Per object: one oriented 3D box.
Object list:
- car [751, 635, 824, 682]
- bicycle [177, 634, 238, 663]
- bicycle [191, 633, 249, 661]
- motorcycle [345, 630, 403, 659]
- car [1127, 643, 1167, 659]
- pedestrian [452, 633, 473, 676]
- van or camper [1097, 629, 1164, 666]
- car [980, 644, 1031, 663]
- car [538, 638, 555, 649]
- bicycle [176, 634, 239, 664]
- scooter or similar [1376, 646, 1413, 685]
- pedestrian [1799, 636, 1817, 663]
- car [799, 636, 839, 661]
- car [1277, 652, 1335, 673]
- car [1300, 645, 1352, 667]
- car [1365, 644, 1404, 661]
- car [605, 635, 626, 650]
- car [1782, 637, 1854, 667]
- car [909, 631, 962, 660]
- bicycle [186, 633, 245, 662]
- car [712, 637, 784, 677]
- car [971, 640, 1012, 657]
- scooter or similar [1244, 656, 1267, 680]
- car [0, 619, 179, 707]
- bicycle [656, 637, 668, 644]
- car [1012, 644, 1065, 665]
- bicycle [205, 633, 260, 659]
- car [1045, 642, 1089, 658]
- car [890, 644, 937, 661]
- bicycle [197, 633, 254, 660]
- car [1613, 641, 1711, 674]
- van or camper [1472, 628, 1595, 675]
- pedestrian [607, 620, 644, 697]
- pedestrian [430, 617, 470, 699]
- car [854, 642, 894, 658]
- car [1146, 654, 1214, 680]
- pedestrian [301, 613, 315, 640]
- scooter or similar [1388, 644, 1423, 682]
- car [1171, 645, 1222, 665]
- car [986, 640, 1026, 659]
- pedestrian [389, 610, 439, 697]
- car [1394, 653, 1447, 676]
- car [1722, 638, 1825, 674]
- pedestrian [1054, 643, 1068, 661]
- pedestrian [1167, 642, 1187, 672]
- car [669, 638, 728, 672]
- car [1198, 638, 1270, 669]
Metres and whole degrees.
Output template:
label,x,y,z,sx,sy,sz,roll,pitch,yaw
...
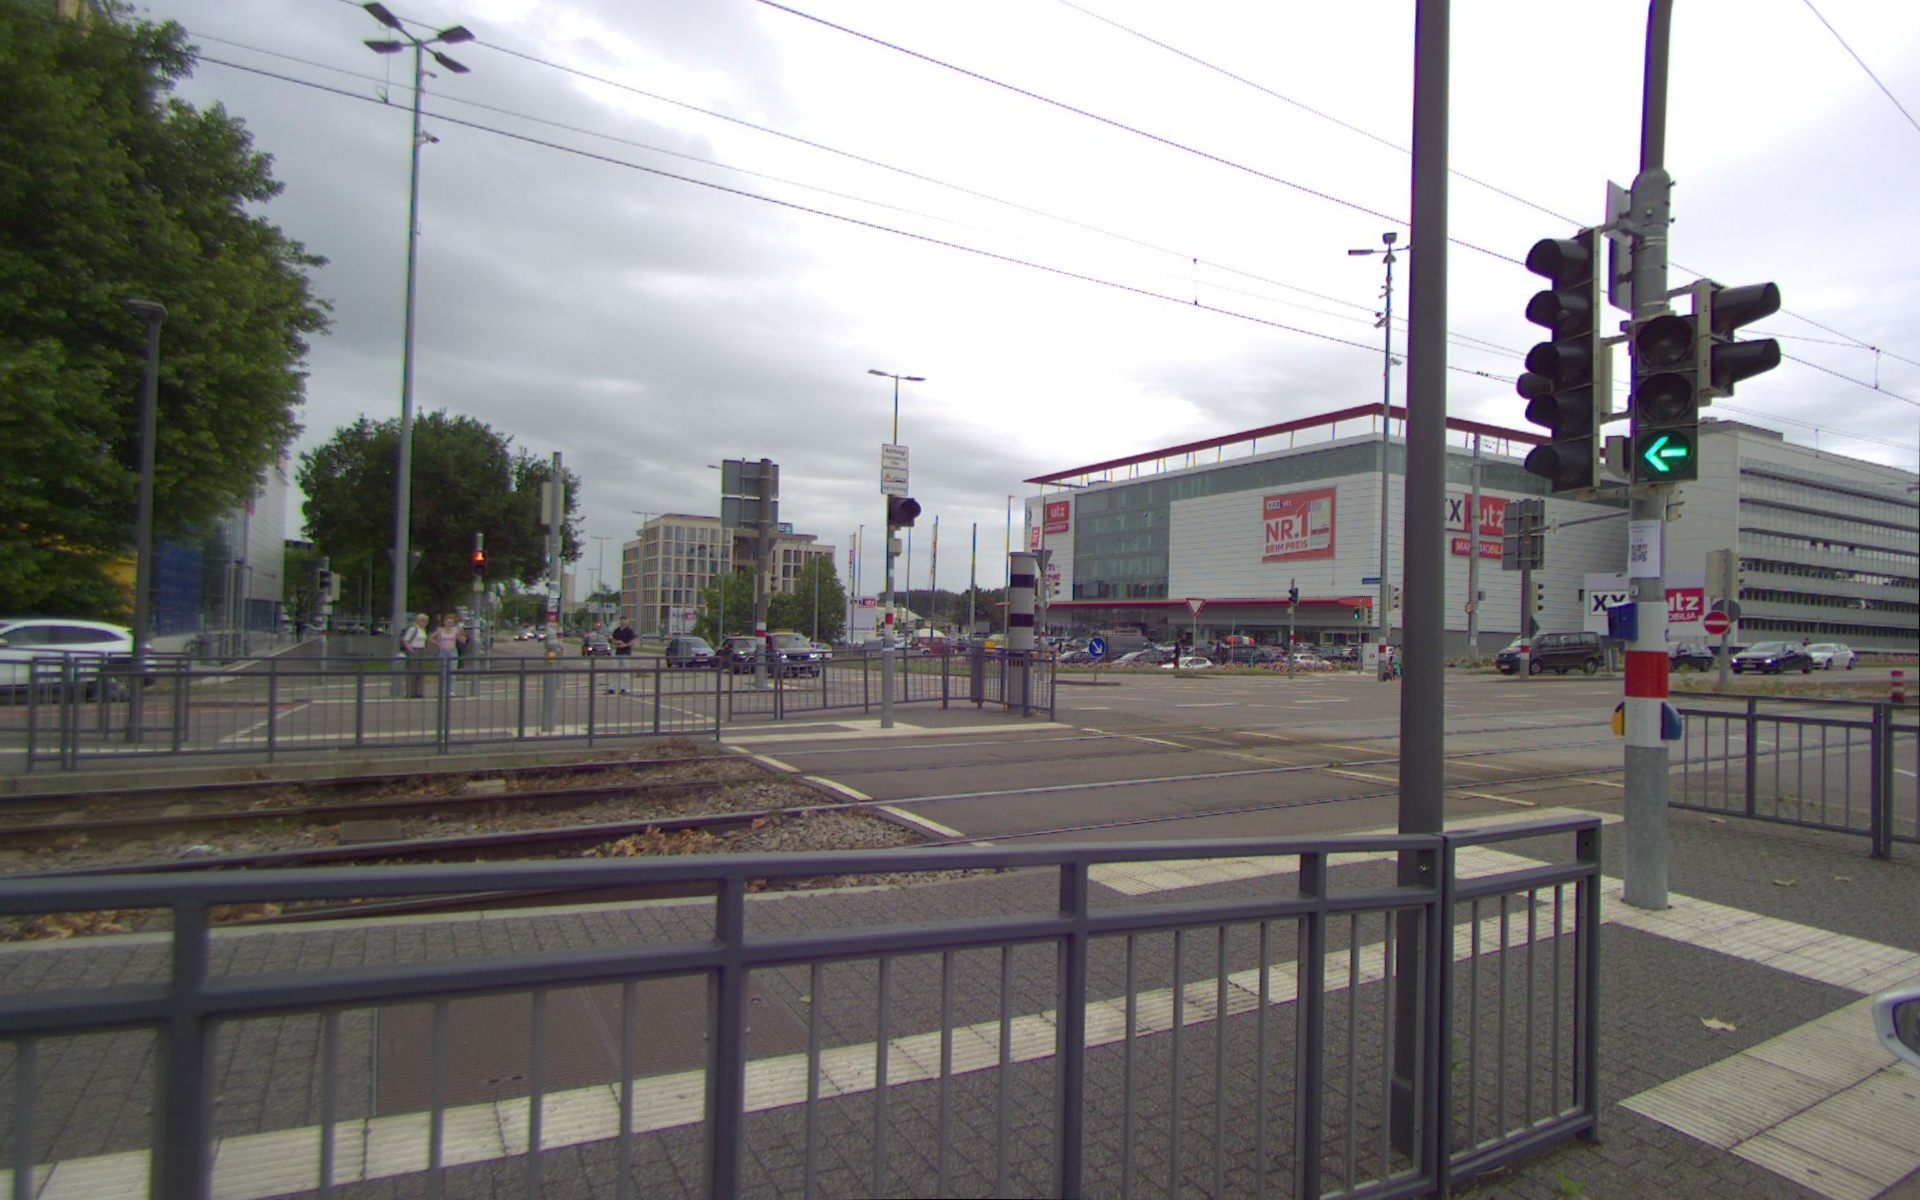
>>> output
label,x,y,z,sx,sy,sz,roll,pitch,yaw
car,-6.094,2.009,35.257,1.588,1.522,3.185,1,-2,-30
bicycle,-32.795,2.114,43.828,1.999,1.172,0.589,5,-3,-30
bicycle,-33.724,2.145,45.822,1.999,1.172,0.589,5,-3,-30
motorcycle,-31.270,2.378,53.630,2.481,1.373,0.791,6,-4,-41
car,20.121,5.472,107.995,3.953,1.676,1.820,3,-3,-30
pedestrian,-19.781,2.175,39.917,0.628,1.663,0.803,3,-4,-31
van or camper,14.461,4.050,85.279,5.316,3.022,1.982,2,-3,-20
car,3.845,4.566,85.433,3.950,1.474,1.802,3,-3,-28
car,-61.914,6.467,150.411,1.912,1.539,4.153,0,-2,-27
bicycle,-31.979,2.071,42.702,0.586,1.172,2.010,0,-4,45
scooter or similar,14.311,2.148,33.094,1.001,1.272,0.463,1,-3,-15
pedestrian,57.327,3.350,67.894,0.684,1.814,0.642,2,0,24
car,-11.274,3.852,80.142,1.974,1.775,4.152,3,-1,-26
car,25.843,4.649,75.087,4.157,1.495,1.734,2,-3,-27
car,31.526,4.817,86.491,4.168,1.804,1.853,2,-2,-26
car,42.186,5.227,99.782,3.569,1.581,1.639,1,-1,-27
car,-47.987,5.932,139.928,1.977,2.040,3.966,1,-2,-31
car,47.449,2.881,55.530,3.997,1.559,1.720,2,-1,-29
car,-2.418,4.506,98.828,4.677,2.613,2.155,3,-1,-27
bicycle,-33.218,2.112,44.848,1.999,1.172,0.589,5,-3,-30
car,-8.496,2.232,40.027,1.647,1.522,4.034,2,-3,-29
car,3.339,5.222,107.355,3.949,1.617,1.866,3,-1,-27
scooter or similar,15.600,3.571,52.990,1.143,1.249,0.346,0,-4,24
car,-18.088,1.198,19.336,1.858,1.606,4.408,0,-3,25
bicycle,-52.755,7.162,177.684,1.974,1.312,0.701,1,-2,27
car,6.330,4.404,81.094,3.944,1.665,1.805,2,-3,-24
bicycle,-34.936,2.221,48.245,2.007,1.172,0.586,6,-4,-42
car,11.004,5.148,103.101,4.198,1.488,1.727,3,-1,-27
car,-4.751,5.327,102.247,4.332,1.480,1.947,3,-1,-27
bicycle,-34.288,2.174,46.908,1.999,1.172,0.589,5,-3,-30
car,33.924,2.789,48.555,4.261,1.483,1.958,2,-1,-23
van or camper,26.330,2.373,46.166,4.670,2.039,2.120,0,-4,-13
pedestrian,-7.920,1.383,23.752,0.657,1.787,0.682,-1,-4,-31
pedestrian,-11.101,1.262,21.880,0.666,1.734,0.761,2,-3,-25
car,-9.544,5.535,111.306,4.015,1.561,1.752,3,-1,-27
car,14.297,4.364,65.223,4.072,1.465,1.861,3,-1,-30
pedestrian,-44.163,1.787,68.042,0.671,1.768,0.802,3,-2,-28
scooter or similar,15.125,2.146,34.096,1.097,1.272,0.320,1,-3,-15
car,20.236,4.708,85.904,3.948,1.692,1.873,2,-2,-27
car,4.833,5.204,105.407,3.700,1.791,1.722,3,-1,-27
pedestrian,-11.600,1.141,21.344,0.756,1.820,0.672,-3,-5,44
car,35.741,5.010,77.895,3.955,1.687,1.870,3,-2,-31
car,36.151,2.491,44.623,4.148,1.483,1.827,2,-1,-23
pedestrian,10.051,5.133,99.773,0.931,1.742,0.878,3,0,-30
pedestrian,11.950,3.154,55.327,0.774,1.617,0.711,2,-5,-30
car,-11.789,2.435,45.122,1.588,1.463,4.113,0,-2,-29
car,20.395,3.990,74.872,4.981,2.193,2.110,2,-2,-24
